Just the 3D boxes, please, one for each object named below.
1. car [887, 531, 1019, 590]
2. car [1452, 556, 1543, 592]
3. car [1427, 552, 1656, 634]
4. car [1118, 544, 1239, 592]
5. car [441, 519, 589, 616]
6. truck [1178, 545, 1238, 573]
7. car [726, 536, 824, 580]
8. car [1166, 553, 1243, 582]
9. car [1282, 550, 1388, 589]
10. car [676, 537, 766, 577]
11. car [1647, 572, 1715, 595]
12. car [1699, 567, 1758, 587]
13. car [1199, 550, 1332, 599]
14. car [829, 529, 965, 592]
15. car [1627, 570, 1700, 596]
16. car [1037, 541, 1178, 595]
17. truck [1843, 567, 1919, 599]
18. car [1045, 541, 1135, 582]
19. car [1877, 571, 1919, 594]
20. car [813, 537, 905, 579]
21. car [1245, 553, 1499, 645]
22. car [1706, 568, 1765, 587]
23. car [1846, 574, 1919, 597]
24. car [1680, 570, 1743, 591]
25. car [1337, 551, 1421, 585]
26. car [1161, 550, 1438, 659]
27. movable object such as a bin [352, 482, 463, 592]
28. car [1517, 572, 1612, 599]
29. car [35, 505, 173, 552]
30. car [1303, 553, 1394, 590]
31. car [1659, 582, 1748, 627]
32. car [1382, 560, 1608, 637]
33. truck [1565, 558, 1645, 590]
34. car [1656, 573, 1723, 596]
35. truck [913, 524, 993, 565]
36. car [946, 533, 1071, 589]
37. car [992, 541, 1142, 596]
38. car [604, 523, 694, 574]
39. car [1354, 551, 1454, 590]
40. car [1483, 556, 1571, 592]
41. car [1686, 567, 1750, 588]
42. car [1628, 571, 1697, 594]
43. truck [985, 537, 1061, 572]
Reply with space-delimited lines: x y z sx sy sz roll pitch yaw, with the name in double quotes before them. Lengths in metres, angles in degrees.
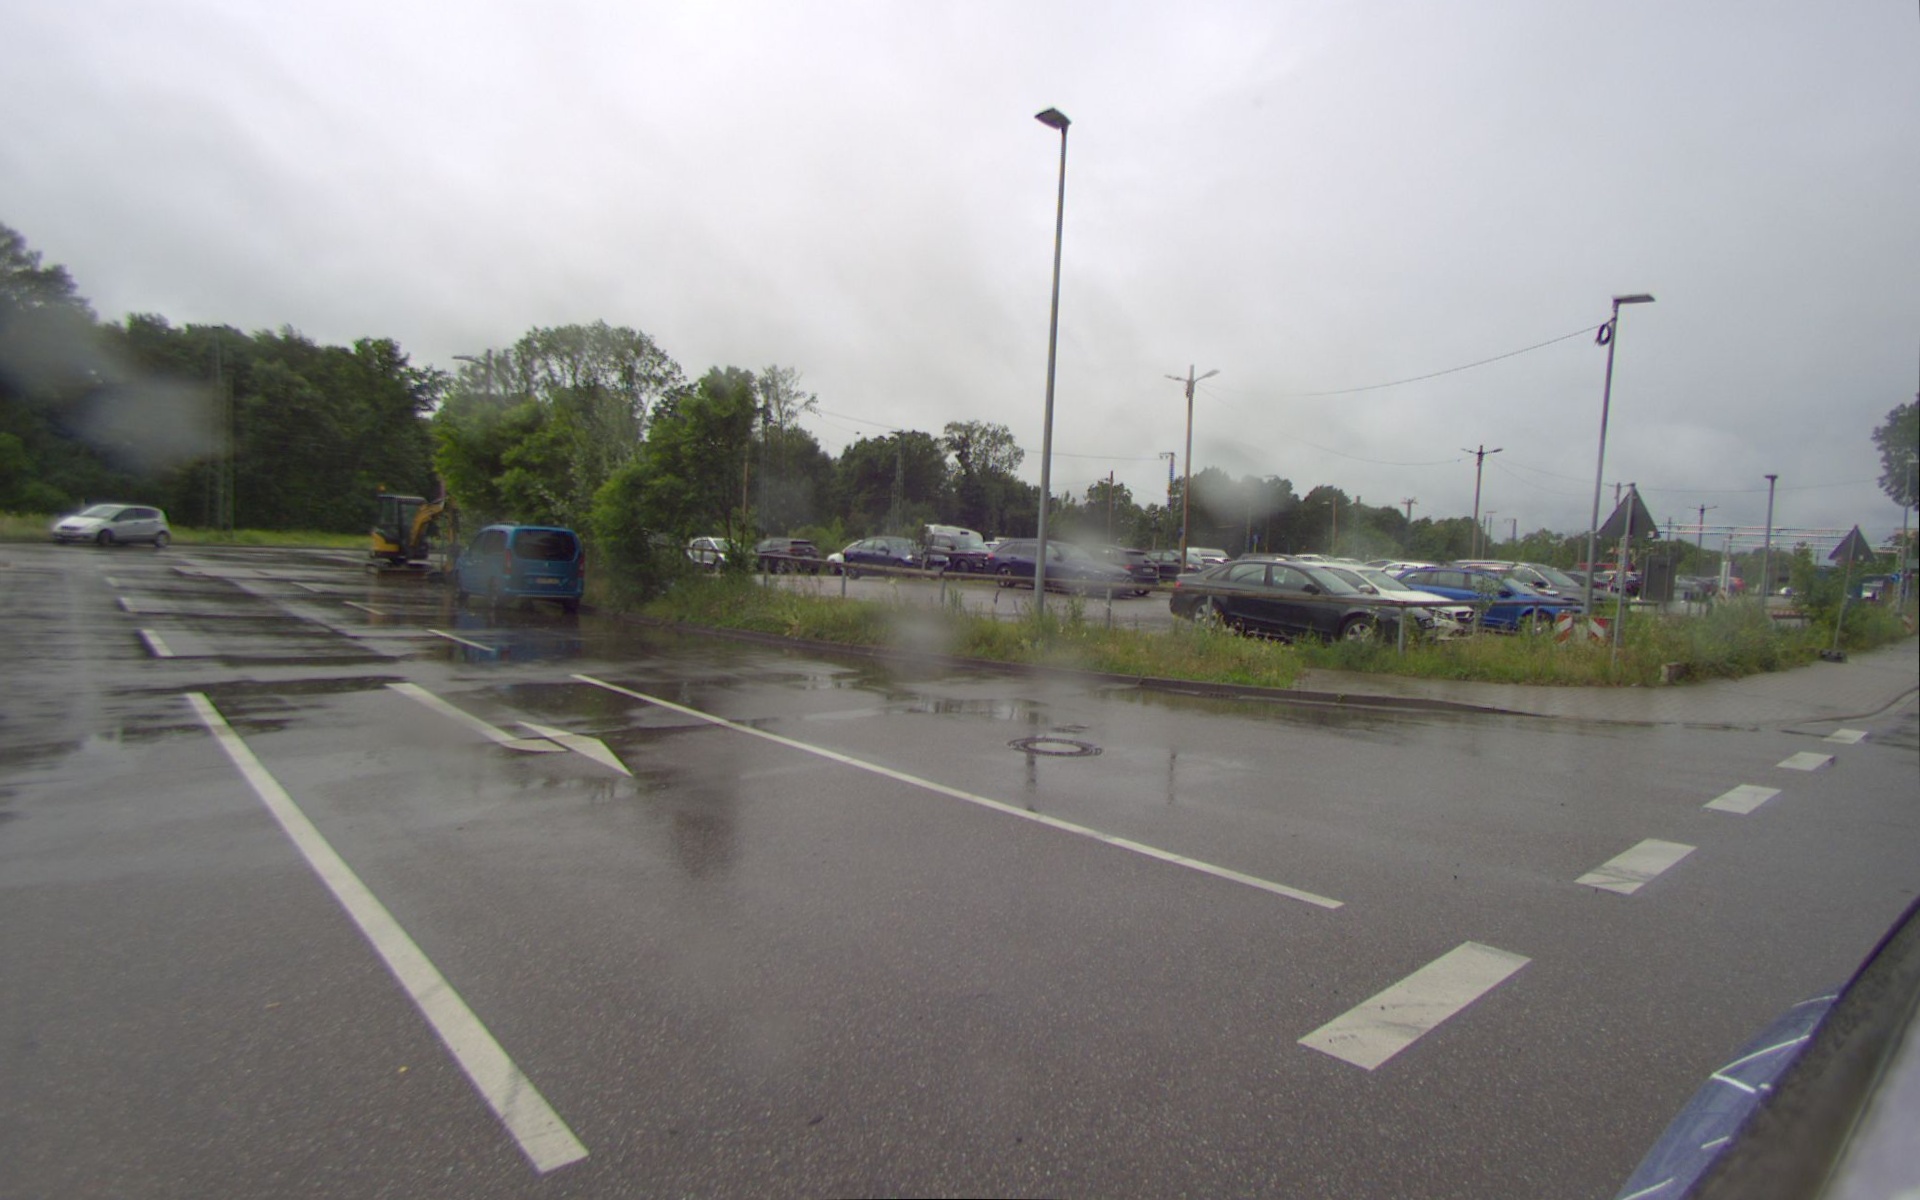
"car" -0.315 -1.417 34.928 2.010 1.691 4.448 -2 7 -44
"car" 29.059 -1.434 54.825 1.754 1.602 3.916 -1 7 -38
"car" 15.030 -0.280 26.411 2.089 1.755 4.697 -1 5 -37
"car" 9.231 -1.417 43.094 2.009 1.623 4.713 -2 7 -42
"car" -9.951 -0.770 22.478 1.800 1.945 3.994 1 3 -42
"truck" 20.268 -3.324 82.530 5.186 2.038 2.086 0 4 -41
"car" -7.821 -1.784 42.544 1.908 1.587 4.596 2 3 -41
"car" 15.497 -2.080 64.202 1.986 1.608 4.326 0 4 -42
"car" 19.214 -1.620 52.053 1.893 1.623 4.715 -2 7 -40
"car" -9.719 -1.759 40.984 1.858 1.414 3.995 2 3 -41
"car" 56.492 -1.303 79.321 1.853 1.443 3.964 -2 6 -39
"car" 70.662 -2.107 93.057 1.775 1.555 3.964 -2 6 -39
"car" 11.978 -1.063 39.865 4.619 1.737 1.988 4 4 43
"car" -2.123 -1.357 33.100 2.010 1.691 4.448 -2 7 -44
"car" 50.955 -1.271 73.376 1.746 1.507 3.964 -2 6 -39
"car" 4.509 -1.036 31.342 1.965 1.503 3.996 -2 4 -40
"truck" 76.270 -1.452 83.395 2.076 2.432 5.039 -1 4 -44
"car" 7.142 -2.138 56.065 1.986 2.022 4.794 0 4 -41
"car" 71.605 -1.310 76.002 1.866 1.614 3.900 -2 4 -44
"car" -4.651 -1.930 46.289 3.983 1.748 1.871 5 4 39
"car" 7.908 -0.108 19.740 1.858 1.528 4.190 -2 4 -41
"car" 72.726 -2.126 94.981 1.809 1.466 3.999 -2 6 -39
"car" 64.510 -1.011 70.700 1.875 1.410 3.776 -2 4 -44
"car" 64.556 -1.680 86.980 1.789 1.443 3.964 -2 6 -39
"car" 24.506 -1.902 59.253 1.802 1.678 4.068 -2 7 -43
"car" 5.928 -0.032 17.971 4.216 1.416 1.863 8 7 40
"movable object such as a bin" -16.412 -1.849 29.980 1.966 3.029 3.994 0 3 -42
"car" 37.036 -0.929 62.069 1.945 1.235 4.597 -2 6 -42
"car" -32.712 -2.715 38.843 1.848 1.620 4.000 3 3 2
"car" 20.843 -1.584 54.376 1.893 1.623 4.072 -2 7 -40
"car" 27.562 0.133 37.480 4.157 1.474 1.897 0 4 -44
"car" 12.377 -0.129 23.633 1.788 1.535 4.305 -2 4 -41
"truck" 54.835 -2.209 86.117 2.116 2.396 5.299 0 5 -42
"car" 58.637 -1.270 81.442 1.853 1.443 3.964 -2 6 -39
"truck" -0.404 -3.560 65.154 4.997 2.430 2.076 0 4 -42
"car" 1.716 -1.465 37.070 2.009 1.691 4.451 -2 7 -42
"car" 2.964 -0.950 28.797 1.965 1.426 3.996 -2 4 -40
"car" -11.865 -1.975 38.429 1.857 1.741 3.998 2 3 -39
"car" 20.867 -1.425 47.669 1.893 1.501 3.843 -1 7 -38
"car" 31.399 -1.473 56.138 1.754 1.602 3.788 -1 7 -38
"car" 66.574 -1.989 88.910 1.892 1.507 4.078 -2 6 -39
"car" 54.237 -1.368 78.159 1.853 1.443 3.964 -2 6 -39
"truck" 4.344 -3.140 69.549 4.989 2.163 2.079 0 4 -37
